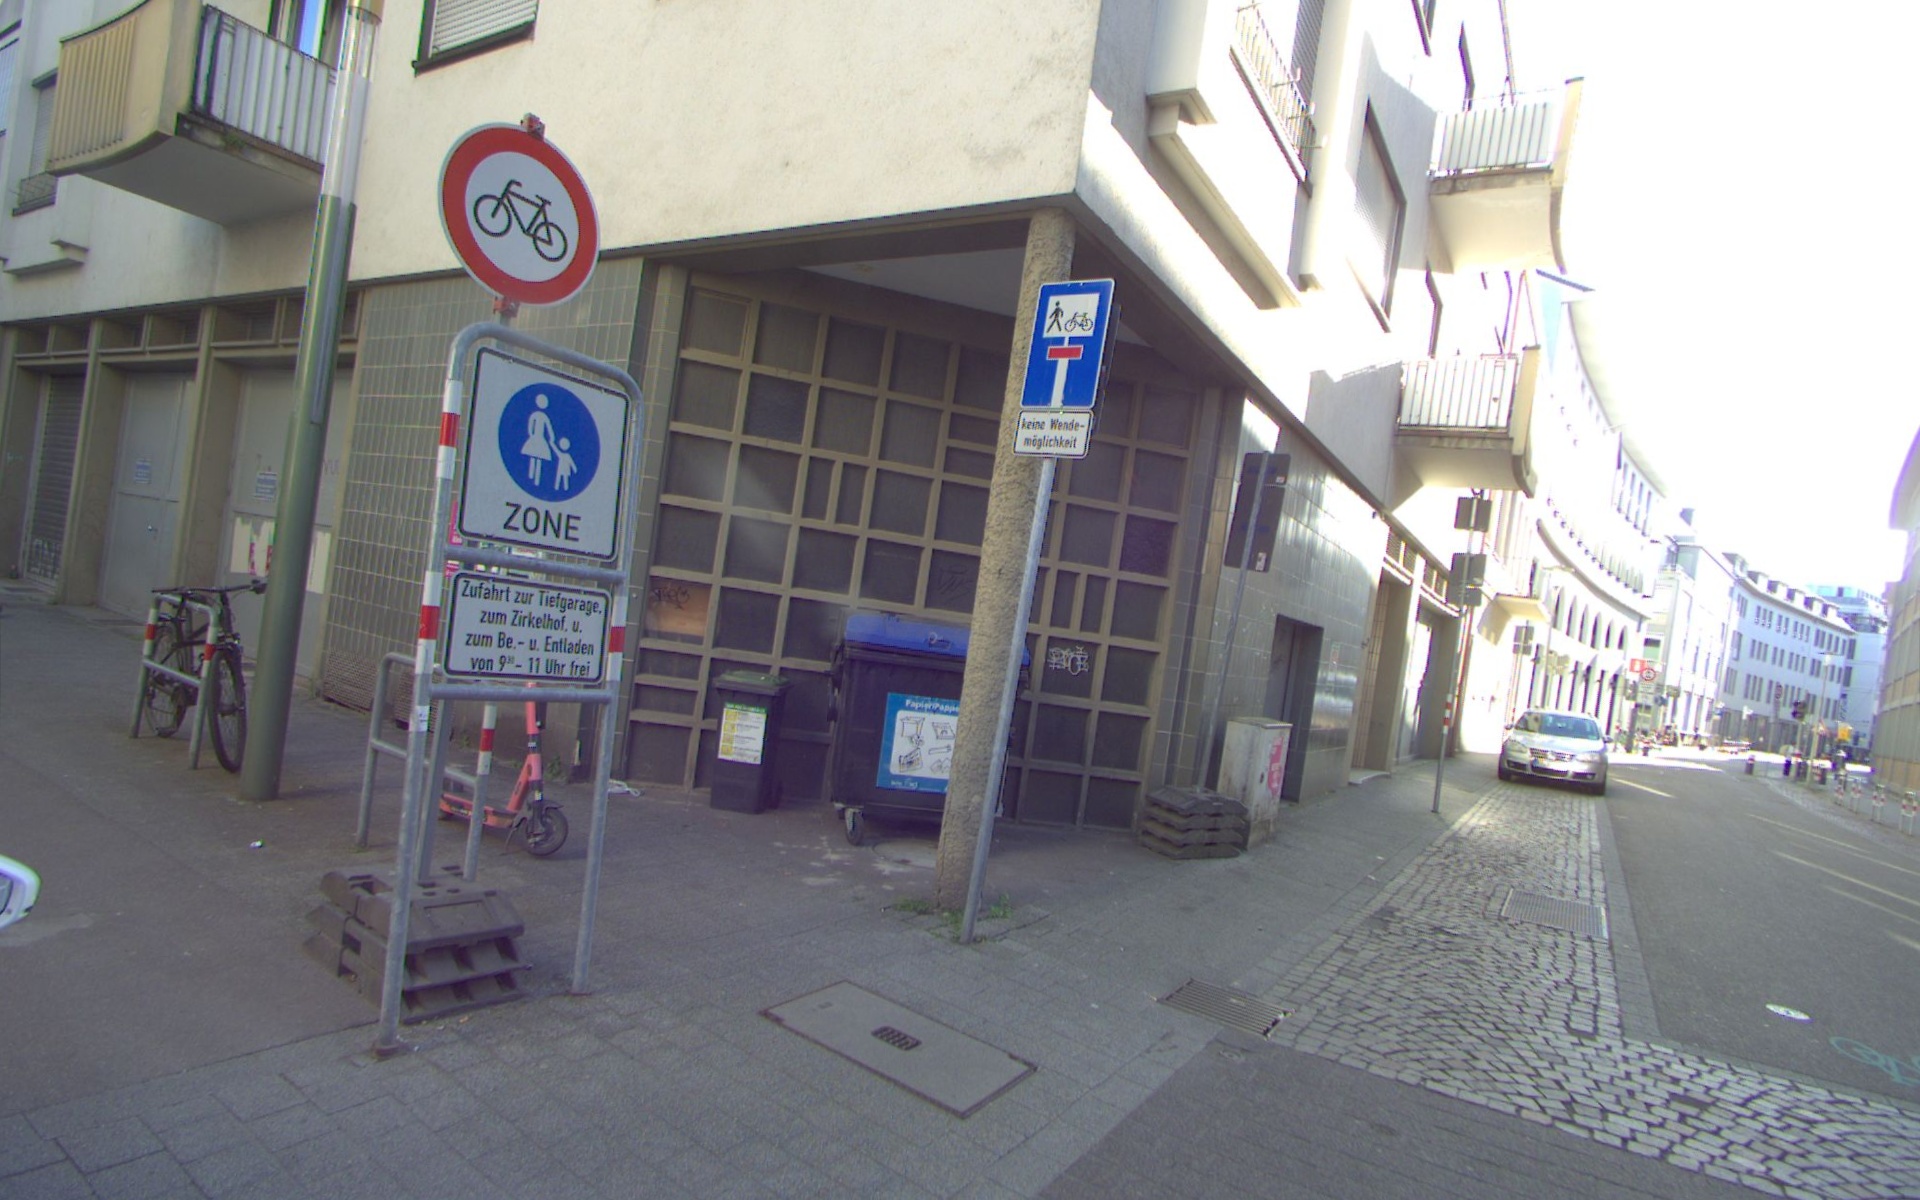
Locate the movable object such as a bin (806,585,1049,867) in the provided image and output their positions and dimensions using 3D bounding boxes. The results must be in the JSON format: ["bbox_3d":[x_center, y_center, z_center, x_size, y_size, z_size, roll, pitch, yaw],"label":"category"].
[{"bbox_3d":[-0.275,0.799,6.843,1.271,1.609,1.152,8,1,-12],"label":"movable object such as a bin"}]

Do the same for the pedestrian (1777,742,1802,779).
[{"bbox_3d":[35.609,6.901,43.195,0.649,1.458,0.594,8,0,35],"label":"pedestrian"}]

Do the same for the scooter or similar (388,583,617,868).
[{"bbox_3d":[-2.428,0.614,5.302,1.218,1.268,0.307,7,0,30],"label":"scooter or similar"}]

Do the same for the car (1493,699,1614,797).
[{"bbox_3d":[11.649,2.809,19.655,1.742,1.487,3.805,6,-2,33],"label":"car"}]

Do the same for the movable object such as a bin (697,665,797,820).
[{"bbox_3d":[-1.462,0.963,6.881,0.533,0.935,0.512,7,0,-14],"label":"movable object such as a bin"}]

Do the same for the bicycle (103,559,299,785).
[{"bbox_3d":[-4.705,0.393,6.193,1.684,1.153,0.446,6,-1,38],"label":"bicycle"}]
